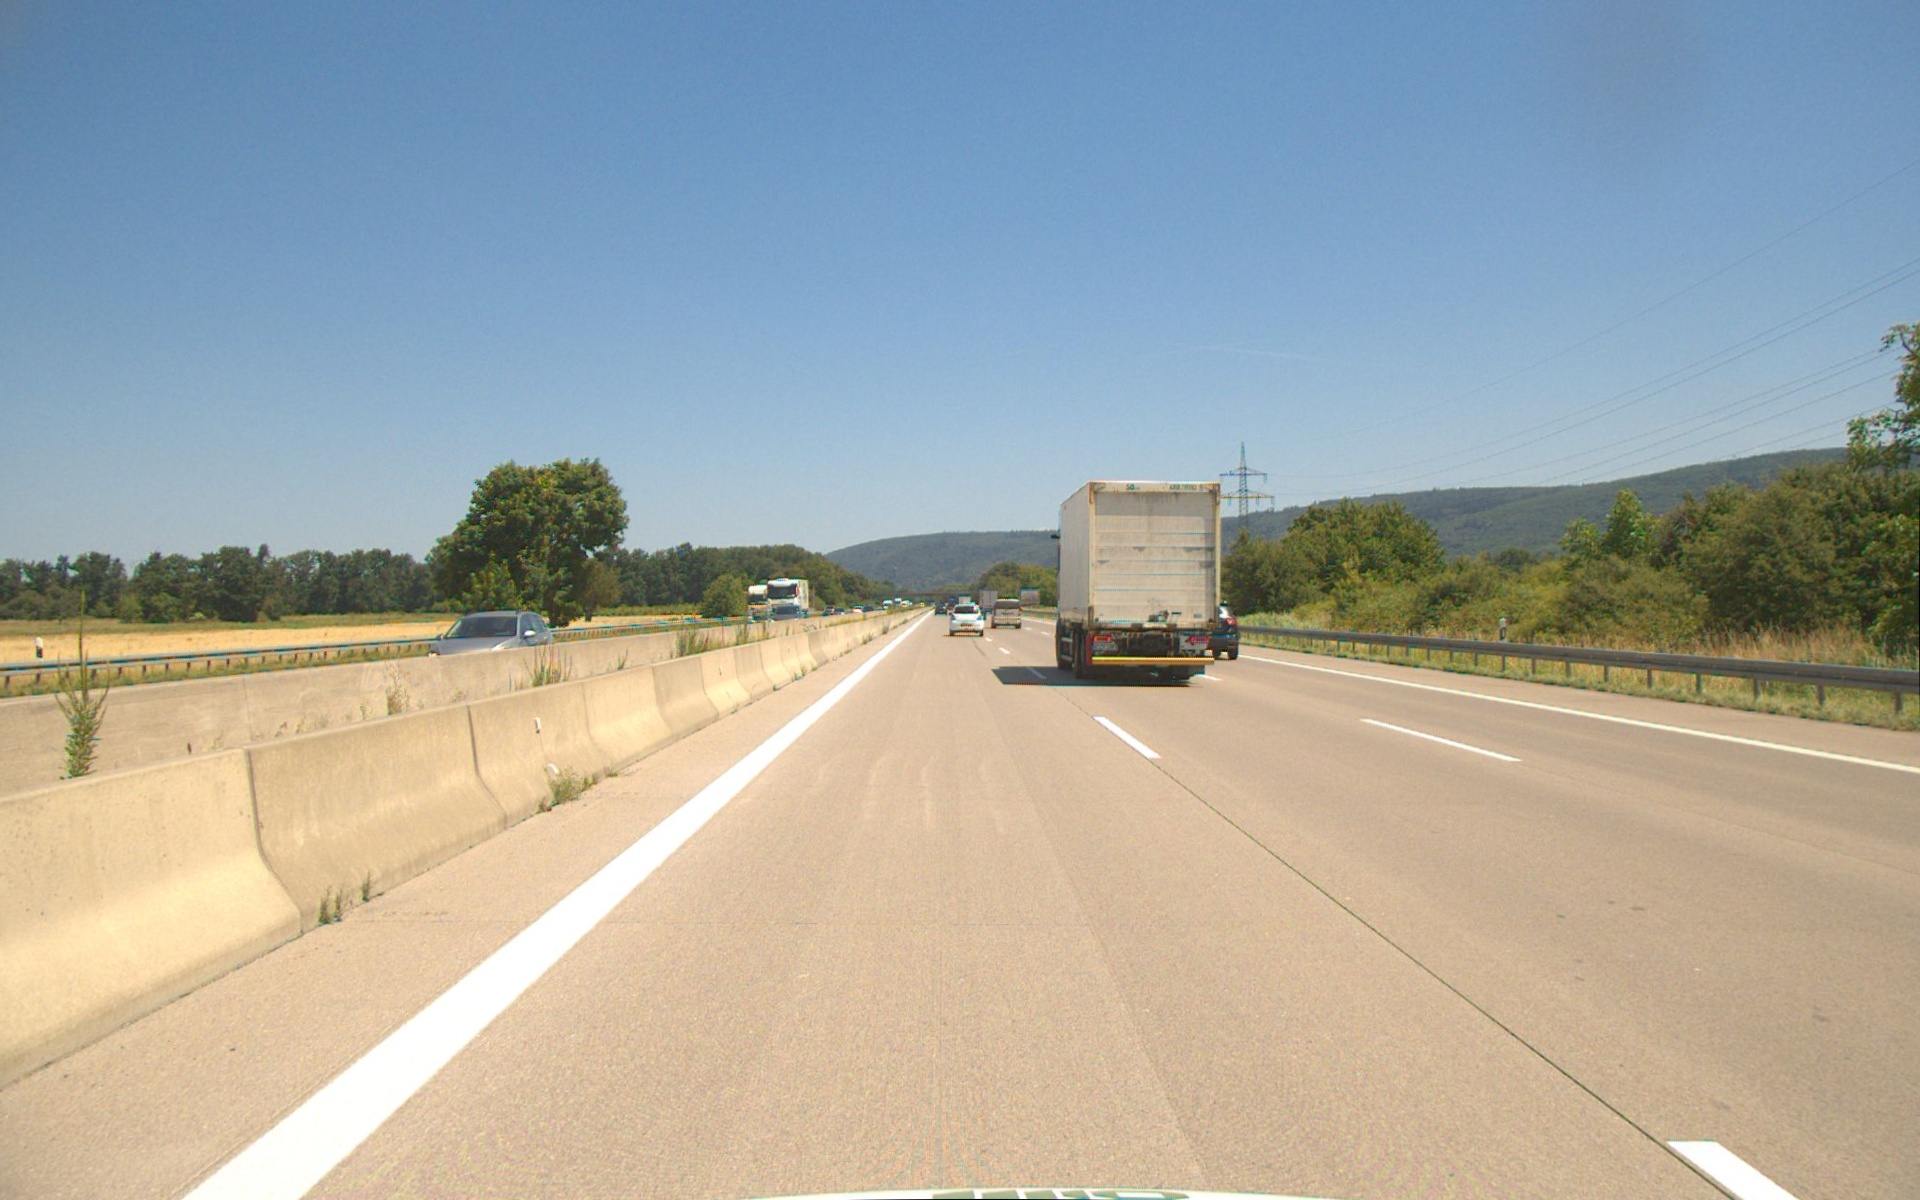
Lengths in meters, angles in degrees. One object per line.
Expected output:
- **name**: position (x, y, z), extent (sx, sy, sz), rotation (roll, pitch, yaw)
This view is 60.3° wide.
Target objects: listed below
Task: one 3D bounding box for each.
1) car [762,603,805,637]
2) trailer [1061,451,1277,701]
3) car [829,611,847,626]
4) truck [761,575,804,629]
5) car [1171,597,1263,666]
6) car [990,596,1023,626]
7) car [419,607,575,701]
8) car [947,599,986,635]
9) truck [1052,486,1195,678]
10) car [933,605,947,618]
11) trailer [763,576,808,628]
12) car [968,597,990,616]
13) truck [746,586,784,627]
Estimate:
- **car**: position (-9.536, 1.057, 89.490), extent (1.825, 1.759, 4.140), rotation (1, 0, 0)
- **trailer**: position (3.654, -0.371, 31.585), extent (2.528, 3.945, 10.370), rotation (1, 0, -1)
- **car**: position (-15.285, 2.324, 207.283), extent (1.953, 1.747, 5.024), rotation (1, 0, 0)
- **truck**: position (-13.920, 0.159, 129.783), extent (2.841, 4.039, 5.044), rotation (1, 0, -1)
- **car**: position (7.597, 0.912, 49.248), extent (1.953, 1.881, 3.999), rotation (2, 0, -1)
- **car**: position (3.059, 0.703, 108.896), extent (1.953, 1.881, 3.999), rotation (1, 0, -1)
- **car**: position (-9.190, 1.021, 33.211), extent (1.844, 1.724, 4.681), rotation (1, 0, -1)
- **car**: position (0.287, 0.812, 81.000), extent (1.782, 1.691, 3.999), rotation (0, 0, -2)
- **truck**: position (3.544, -0.360, 36.828), extent (2.529, 3.945, 4.982), rotation (1, 0, -2)
- **car**: position (-2.731, 1.559, 230.701), extent (1.890, 1.825, 3.999), rotation (1, 0, -1)
- **trailer**: position (-13.995, 0.185, 133.422), extent (2.841, 4.039, 8.475), rotation (1, 0, -1)
- **car**: position (1.940, 0.680, 169.751), extent (1.953, 1.881, 3.998), rotation (2, 0, -2)
- **truck**: position (-18.370, 0.588, 156.203), extent (2.746, 3.752, 7.235), rotation (1, 0, -1)
